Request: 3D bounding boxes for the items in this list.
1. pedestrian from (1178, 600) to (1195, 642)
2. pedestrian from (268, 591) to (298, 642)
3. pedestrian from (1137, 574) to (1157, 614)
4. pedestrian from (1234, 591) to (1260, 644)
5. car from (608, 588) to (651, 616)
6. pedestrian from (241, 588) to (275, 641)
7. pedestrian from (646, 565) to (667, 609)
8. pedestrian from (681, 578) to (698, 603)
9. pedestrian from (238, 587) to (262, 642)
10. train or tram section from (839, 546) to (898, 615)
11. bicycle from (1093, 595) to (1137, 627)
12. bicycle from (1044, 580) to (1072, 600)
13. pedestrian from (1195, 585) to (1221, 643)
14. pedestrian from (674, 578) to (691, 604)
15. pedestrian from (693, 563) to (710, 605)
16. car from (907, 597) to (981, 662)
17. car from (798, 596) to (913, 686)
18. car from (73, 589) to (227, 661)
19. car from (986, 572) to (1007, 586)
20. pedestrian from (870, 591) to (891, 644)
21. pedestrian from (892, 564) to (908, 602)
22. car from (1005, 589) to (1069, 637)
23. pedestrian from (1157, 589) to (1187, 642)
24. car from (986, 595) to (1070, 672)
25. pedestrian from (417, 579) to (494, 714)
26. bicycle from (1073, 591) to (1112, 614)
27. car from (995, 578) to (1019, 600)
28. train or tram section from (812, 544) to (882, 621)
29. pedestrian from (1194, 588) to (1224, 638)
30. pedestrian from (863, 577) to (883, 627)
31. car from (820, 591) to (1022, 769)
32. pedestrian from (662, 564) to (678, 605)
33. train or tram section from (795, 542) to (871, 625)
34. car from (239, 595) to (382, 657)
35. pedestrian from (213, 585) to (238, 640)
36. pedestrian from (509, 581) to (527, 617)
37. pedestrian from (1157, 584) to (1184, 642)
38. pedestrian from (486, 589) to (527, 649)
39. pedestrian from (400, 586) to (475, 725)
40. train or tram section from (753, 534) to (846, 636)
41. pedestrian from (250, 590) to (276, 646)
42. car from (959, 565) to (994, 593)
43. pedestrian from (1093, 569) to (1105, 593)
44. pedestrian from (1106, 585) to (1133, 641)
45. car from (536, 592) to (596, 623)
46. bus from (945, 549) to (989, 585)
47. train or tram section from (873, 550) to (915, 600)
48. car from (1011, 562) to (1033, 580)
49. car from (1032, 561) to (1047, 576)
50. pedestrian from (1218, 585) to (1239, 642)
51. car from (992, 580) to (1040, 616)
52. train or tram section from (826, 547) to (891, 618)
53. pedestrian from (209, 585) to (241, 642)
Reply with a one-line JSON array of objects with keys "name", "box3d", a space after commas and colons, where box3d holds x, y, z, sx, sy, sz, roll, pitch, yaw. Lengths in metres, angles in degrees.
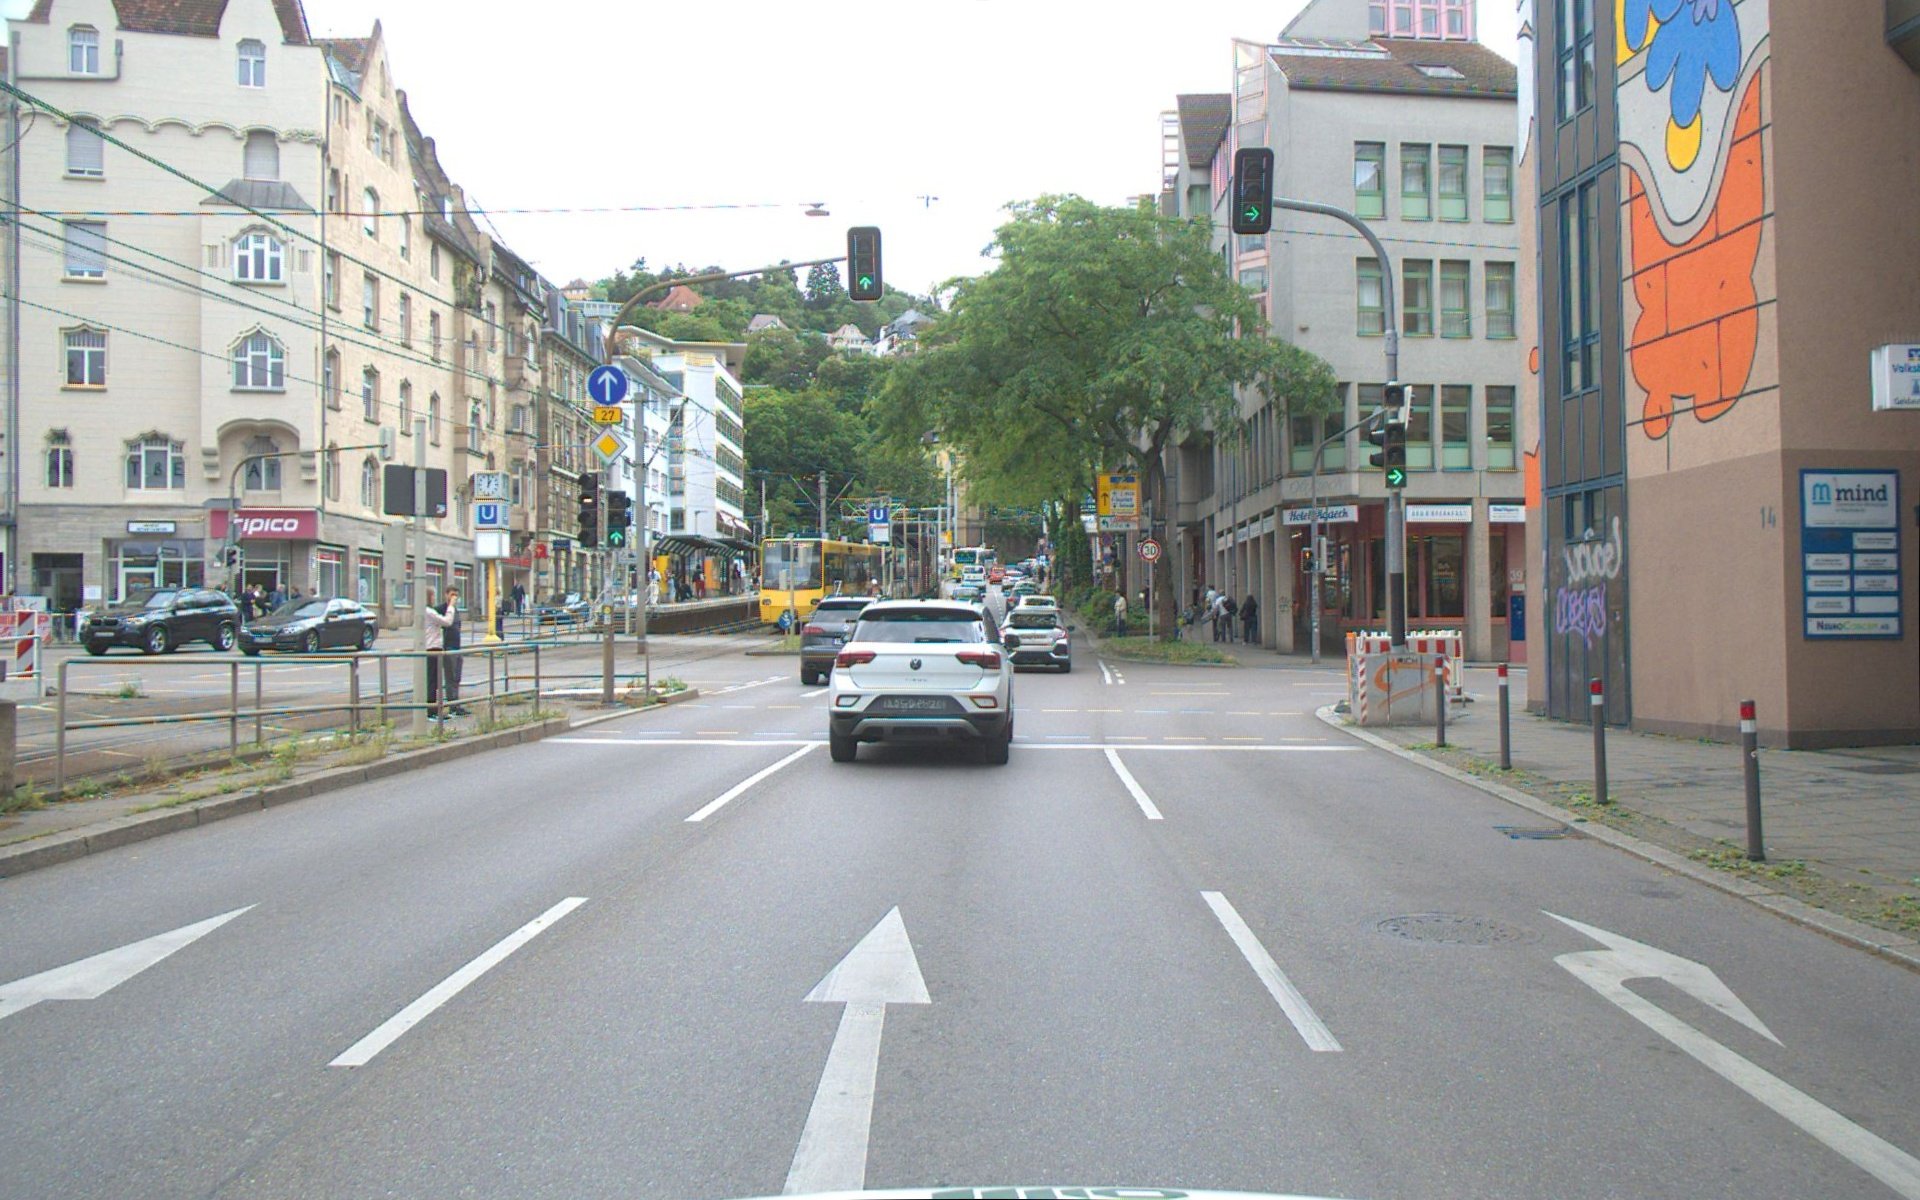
[{"name": "pedestrian", "box3d": [7.294, 0.682, 53.297, 0.462, 1.357, 0.519, 1, 0, -3]}, {"name": "pedestrian", "box3d": [-22.665, 0.545, 55.383, 0.659, 1.706, 0.691, 0, 0, 19]}, {"name": "pedestrian", "box3d": [8.787, -0.305, 77.857, 0.747, 1.813, 0.847, -2, 3, -4]}, {"name": "pedestrian", "box3d": [9.024, 0.548, 52.023, 0.745, 1.640, 0.619, -1, 3, 13]}, {"name": "car", "box3d": [-18.822, 0.135, 94.282, 1.526, 1.550, 3.601, 1, 0, 3]}, {"name": "pedestrian", "box3d": [-23.382, 0.479, 55.111, 0.765, 1.735, 0.724, 0, 0, 7]}, {"name": "pedestrian", "box3d": [-12.144, -0.532, 66.205, 0.674, 1.741, 0.662, 0, 1, 1]}, {"name": "pedestrian", "box3d": [-12.227, -0.451, 74.837, 0.622, 1.127, 0.690, 0, 1, 1]}, {"name": "pedestrian", "box3d": [-23.538, 0.479, 54.837, 0.500, 1.811, 0.575, 0, 0, 32]}, {"name": "train or tram section", "box3d": [-5.071, -1.093, 92.842, 2.754, 3.730, 5.904, 1, 1, 2]}, {"name": "bicycle", "box3d": [6.208, 0.421, 66.154, 1.675, 1.204, 0.448, -2, 0, -6]}, {"name": "bicycle", "box3d": [6.738, -0.685, 113.436, 1.841, 1.288, 0.765, 1, 0, 12]}, {"name": "pedestrian", "box3d": [8.151, 0.453, 54.352, 0.719, 1.907, 0.733, 0, 0, -3]}, {"name": "pedestrian", "box3d": [-12.296, -0.414, 73.203, 0.622, 1.127, 0.690, 0, 1, 1]}, {"name": "pedestrian", "box3d": [-11.339, -0.698, 72.546, 0.614, 1.793, 0.847, 0, 0, 3]}, {"name": "car", "box3d": [-0.430, 0.833, 48.948, 1.872, 1.719, 4.002, 1, 2, 3]}, {"name": "car", "box3d": [-1.989, 0.769, 32.597, 1.952, 1.664, 4.000, 0, 0, 1]}, {"name": "car", "box3d": [-21.531, 0.643, 44.190, 1.639, 1.790, 4.783, 1, 0, 2]}, {"name": "car", "box3d": [3.433, -1.930, 154.882, 1.548, 1.193, 3.681, 1, 0, 9]}, {"name": "pedestrian", "box3d": [-2.612, 0.576, 54.604, 0.622, 1.741, 0.872, 0, 1, 1]}, {"name": "pedestrian", "box3d": [-2.833, -0.816, 78.172, 0.702, 1.761, 0.671, 1, 0, 3]}, {"name": "car", "box3d": [2.851, 0.461, 61.797, 1.848, 1.713, 4.157, 1, 0, -5]}, {"name": "pedestrian", "box3d": [7.082, 0.506, 55.374, 0.819, 1.733, 0.764, -2, 0, -3]}, {"name": "car", "box3d": [1.573, 0.757, 39.220, 1.846, 1.713, 4.162, 1, 0, 1]}, {"name": "pedestrian", "box3d": [-6.669, 0.604, 21.900, 0.775, 1.751, 0.773, 0, 0, 1]}, {"name": "bicycle", "box3d": [6.615, 0.126, 82.670, 1.877, 1.095, 0.613, -2, 0, -1]}, {"name": "car", "box3d": [3.692, -0.864, 130.860, 1.846, 1.713, 4.162, 1, 0, 2]}, {"name": "train or tram section", "box3d": [-5.495, -0.857, 81.247, 2.776, 3.582, 5.753, 1, 1, 2]}, {"name": "pedestrian", "box3d": [8.054, 0.431, 53.462, 0.819, 1.590, 0.764, 1, 0, -3]}, {"name": "pedestrian", "box3d": [-3.090, 0.063, 58.825, 0.671, 1.741, 0.712, 0, 1, 1]}, {"name": "car", "box3d": [-0.283, 0.771, 17.329, 1.799, 1.612, 4.158, 1, -1, 3]}, {"name": "pedestrian", "box3d": [-12.338, -0.667, 70.372, 0.623, 1.741, 0.689, 0, 1, -7]}, {"name": "train or tram section", "box3d": [-5.728, -0.767, 75.467, 2.776, 3.582, 5.753, 1, 1, 2]}, {"name": "car", "box3d": [-17.310, 0.662, 44.306, 1.621, 1.579, 4.538, 0, 0, 7]}, {"name": "pedestrian", "box3d": [-24.329, 0.416, 54.762, 0.500, 1.811, 0.575, 0, 0, 32]}, {"name": "pedestrian", "box3d": [-22.203, -0.056, 83.095, 0.623, 1.793, 0.834, 0, 0, -41]}, {"name": "pedestrian", "box3d": [6.911, 0.415, 54.275, 0.707, 1.834, 0.834, -2, 2, -3]}, {"name": "pedestrian", "box3d": [-13.149, 0.542, 47.954, 0.858, 1.735, 0.811, 0, 0, 31]}, {"name": "pedestrian", "box3d": [-6.688, 0.703, 21.195, 0.748, 1.751, 0.637, 0, 0, 1]}, {"name": "train or tram section", "box3d": [-6.138, -0.596, 63.949, 2.776, 3.743, 5.753, 1, 1, 2]}, {"name": "pedestrian", "box3d": [-22.624, 0.587, 53.690, 0.499, 1.811, 0.577, 0, 0, 16]}, {"name": "car", "box3d": [1.304, -1.620, 128.043, 2.315, 2.049, 5.151, 1, 0, 5]}, {"name": "pedestrian", "box3d": [9.713, -1.336, 115.786, 0.626, 1.643, 0.584, 1, -1, -19]}, {"name": "pedestrian", "box3d": [5.361, 0.436, 55.568, 0.679, 1.808, 0.689, -4, 0, -3]}, {"name": "car", "box3d": [-18.731, 0.346, 78.717, 1.597, 1.399, 3.786, -2, 0, 6]}, {"name": "bus", "box3d": [0.784, -3.203, 164.062, 3.301, 3.118, 13.332, 1, 0, 5]}, {"name": "train or tram section", "box3d": [-5.017, -1.914, 126.834, 2.755, 3.730, 6.752, 1, 1, 1]}, {"name": "car", "box3d": [6.640, -3.069, 176.065, 1.844, 1.713, 4.164, 1, 0, 8]}, {"name": "car", "box3d": [9.278, -3.683, 193.625, 1.639, 1.588, 3.679, 1, 0, 1]}, {"name": "pedestrian", "box3d": [8.693, 0.434, 53.508, 0.508, 1.820, 0.764, 1, 0, -3]}, {"name": "car", "box3d": [3.251, -0.120, 97.287, 2.318, 2.049, 5.144, 1, 0, -3]}, {"name": "train or tram section", "box3d": [-5.285, -0.935, 87.005, 2.776, 3.582, 5.753, 1, 1, 2]}, {"name": "pedestrian", "box3d": [-23.548, 0.443, 52.986, 0.694, 1.811, 0.596, 0, 0, 17]}]
